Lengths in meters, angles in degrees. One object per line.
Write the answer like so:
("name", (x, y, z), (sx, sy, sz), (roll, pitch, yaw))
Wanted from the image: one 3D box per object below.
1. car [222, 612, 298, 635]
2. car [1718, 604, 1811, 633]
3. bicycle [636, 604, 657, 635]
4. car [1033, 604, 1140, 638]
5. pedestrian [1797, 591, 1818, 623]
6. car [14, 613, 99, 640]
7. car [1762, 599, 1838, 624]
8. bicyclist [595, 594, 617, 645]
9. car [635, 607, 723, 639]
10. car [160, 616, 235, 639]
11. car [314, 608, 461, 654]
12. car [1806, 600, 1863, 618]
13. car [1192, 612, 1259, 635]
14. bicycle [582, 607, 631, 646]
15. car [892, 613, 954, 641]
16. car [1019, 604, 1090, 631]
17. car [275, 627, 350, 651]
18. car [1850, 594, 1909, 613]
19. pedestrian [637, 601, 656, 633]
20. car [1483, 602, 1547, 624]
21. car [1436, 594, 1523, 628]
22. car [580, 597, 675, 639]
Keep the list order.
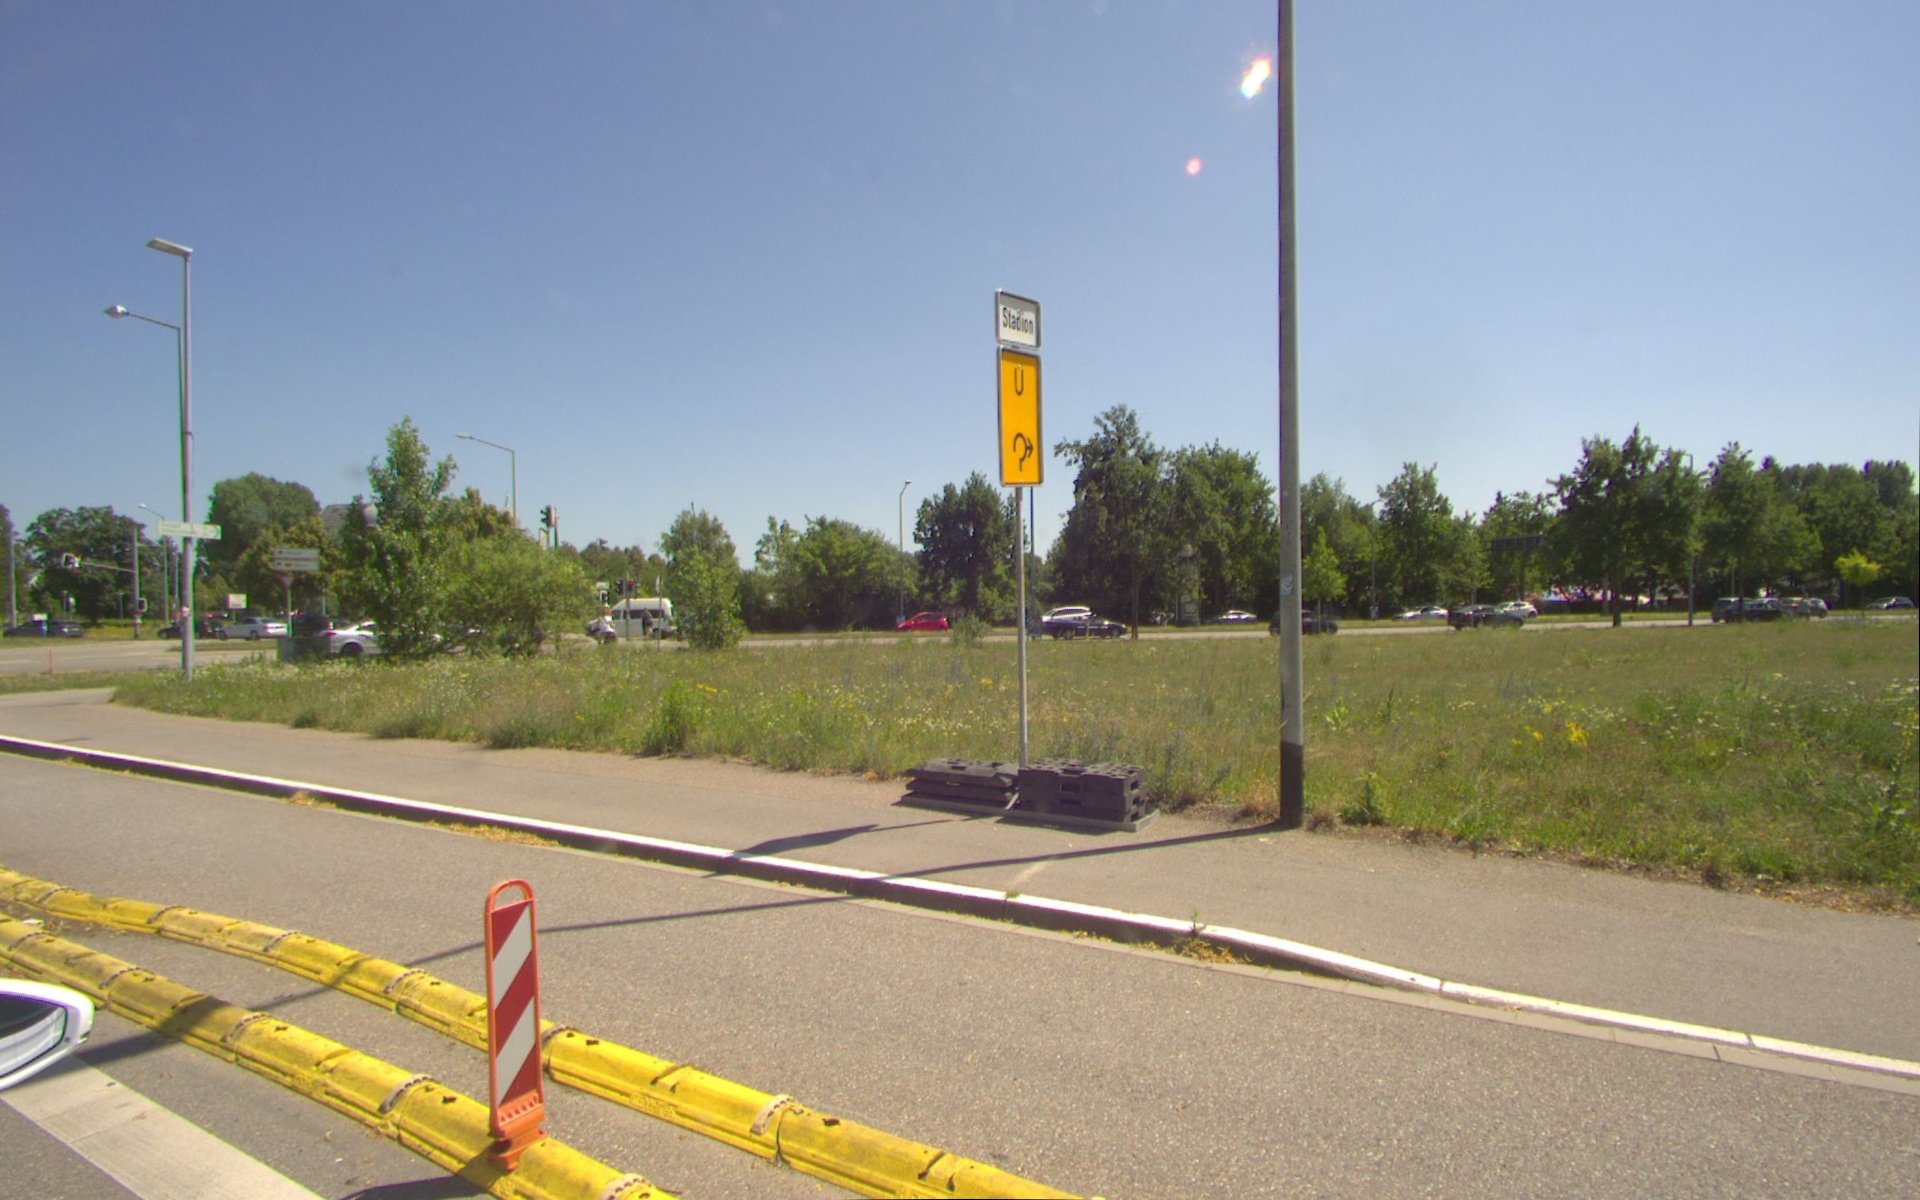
("car", (-44.218, 1.483, 63.260), (4.253, 1.389, 1.750), (-1, -2, 18))
("car", (48.984, 1.142, 60.980), (4.559, 1.758, 1.999), (0, -2, -13))
("bicycle", (-16.751, 1.046, 53.561), (0.967, 1.617, 2.879), (0, -2, -16))
("car", (6.615, 1.128, 52.568), (5.238, 1.758, 1.997), (1, -2, -18))
("pedestrian", (42.500, 0.357, 50.236), (0.548, 1.611, 0.662), (1, -1, -32))
("car", (-61.262, 1.818, 67.899), (4.359, 1.758, 1.849), (0, -2, 7))
("car", (59.536, 0.842, 70.980), (4.563, 1.758, 1.997), (0, -2, -18))
("bicyclist", (-13.150, 0.723, 37.167), (0.597, 1.864, 0.572), (0, -1, 2))
("car", (-17.753, 1.496, 63.492), (5.228, 1.987, 1.994), (0, -2, -10))
("car", (-57.814, 2.101, 75.945), (4.358, 1.758, 1.849), (0, -2, 3))
("car", (-20.717, 1.083, 36.318), (4.369, 1.547, 1.983), (0, 0, -40))
("car", (80.133, 0.787, 91.774), (4.365, 1.613, 1.845), (0, 0, -16))
("car", (19.348, 1.718, 72.946), (4.366, 1.612, 1.846), (0, -2, -16))
("bicycle", (-13.128, 1.001, 37.277), (0.628, 1.370, 2.896), (0, -2, 4))
("car", (-2.489, 1.825, 66.897), (3.867, 1.840, 1.662), (0, -2, -15))
("car", (6.255, 1.184, 66.321), (4.366, 1.758, 1.846), (0, -2, -16))
("car", (-44.302, 2.668, 68.581), (4.250, 1.634, 1.881), (-1, -2, 13))
("car", (81.971, 0.353, 89.282), (4.366, 1.612, 1.846), (0, -2, -16))
("pedestrian", (-16.708, 0.911, 53.423), (0.954, 1.681, 0.885), (0, -1, -16))
("car", (42.844, 1.038, 77.320), (4.366, 1.612, 1.846), (0, -2, -16))
("car", (30.959, 0.668, 59.696), (4.564, 1.961, 1.996), (1, -2, -19))
("car", (-19.522, 1.078, 59.088), (5.233, 2.427, 1.991), (0, -2, -16))
